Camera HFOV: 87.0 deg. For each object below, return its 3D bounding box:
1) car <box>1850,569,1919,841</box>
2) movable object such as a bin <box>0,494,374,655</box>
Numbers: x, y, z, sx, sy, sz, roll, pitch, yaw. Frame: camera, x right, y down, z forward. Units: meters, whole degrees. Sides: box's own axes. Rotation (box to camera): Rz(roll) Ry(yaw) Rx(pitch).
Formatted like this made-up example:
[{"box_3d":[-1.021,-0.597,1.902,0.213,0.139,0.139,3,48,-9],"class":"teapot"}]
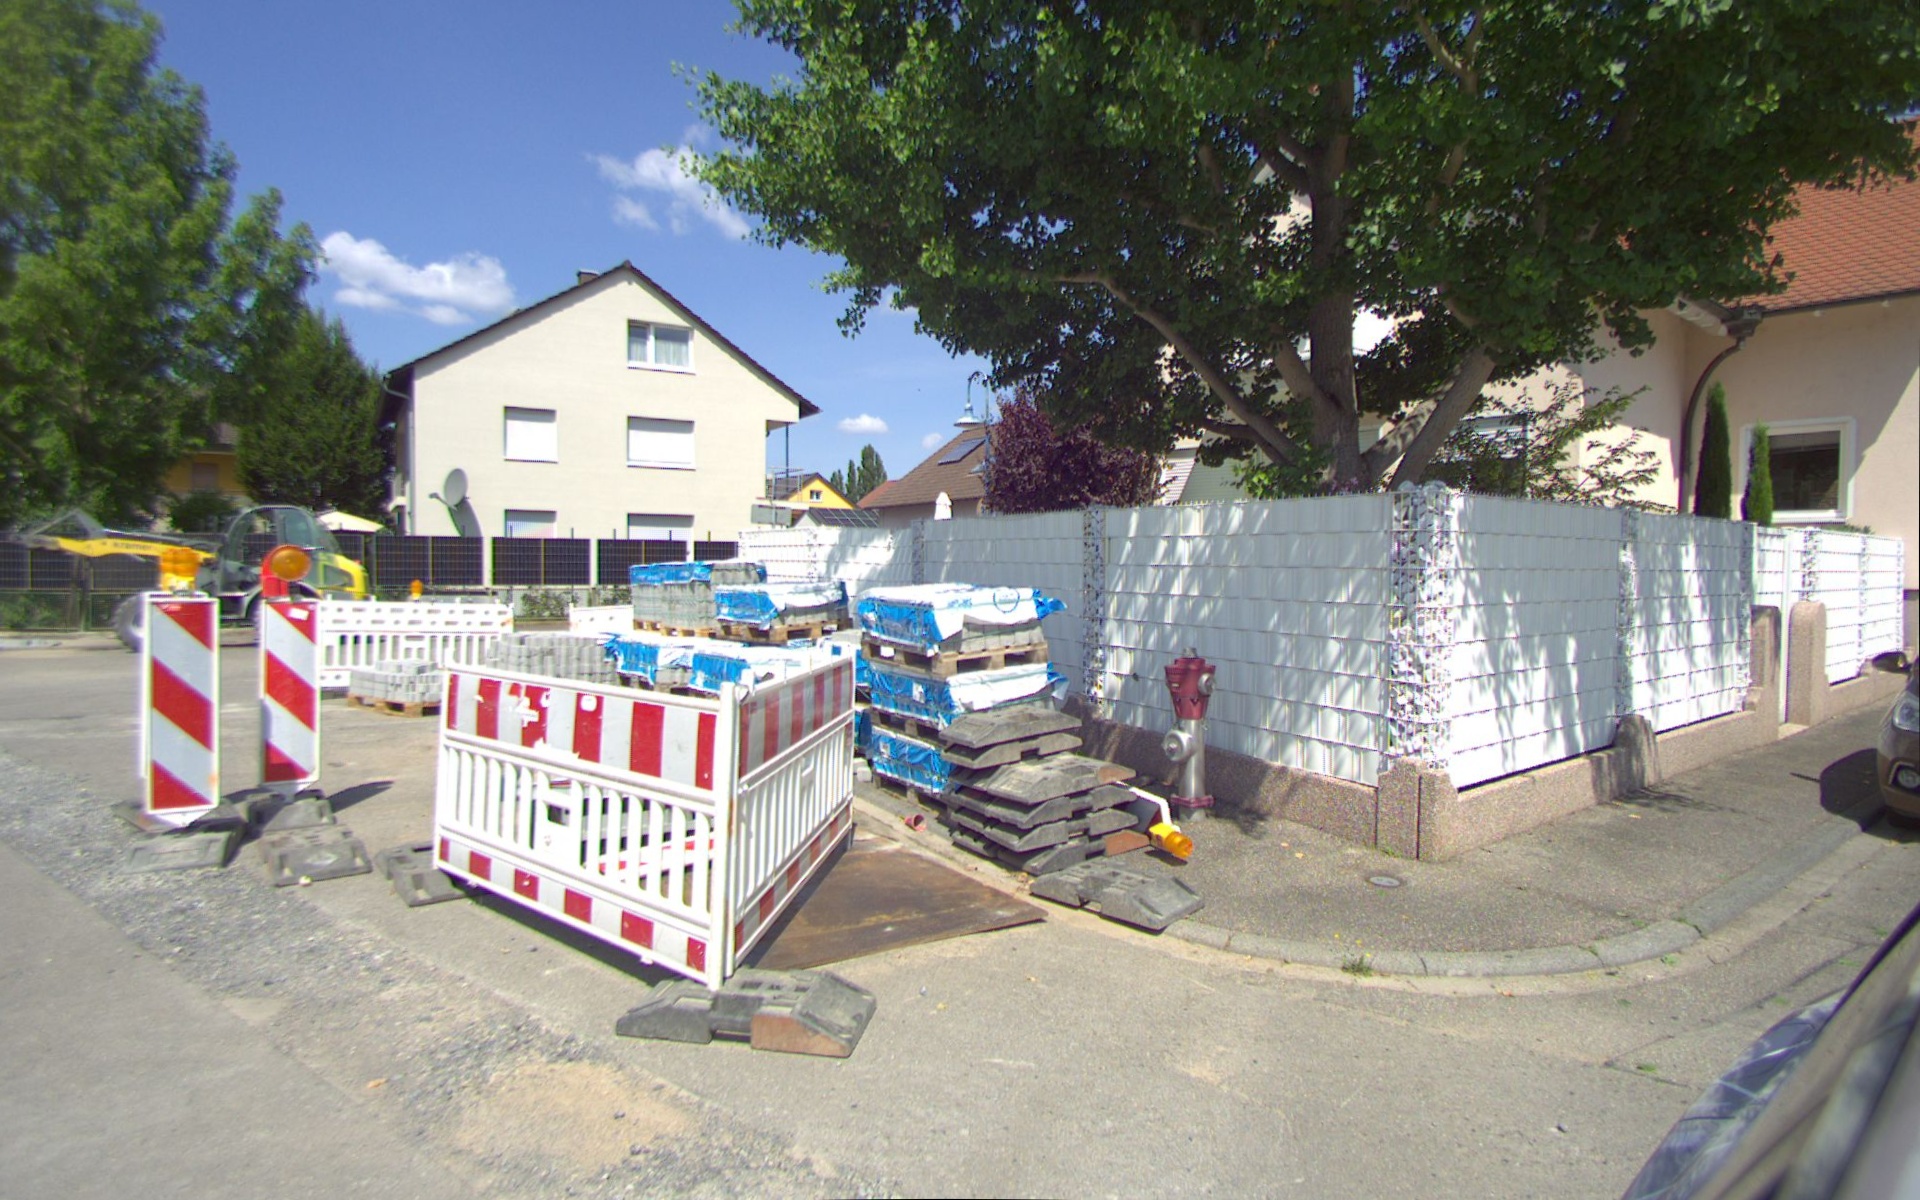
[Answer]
[{"box_3d":[7.387,0.534,6.593,3.964,1.552,1.716,-2,0,-39],"class":"car"},{"box_3d":[-13.238,-0.459,17.631,5.126,2.483,2.002,-2,1,-28],"class":"movable object such as a bin"}]
